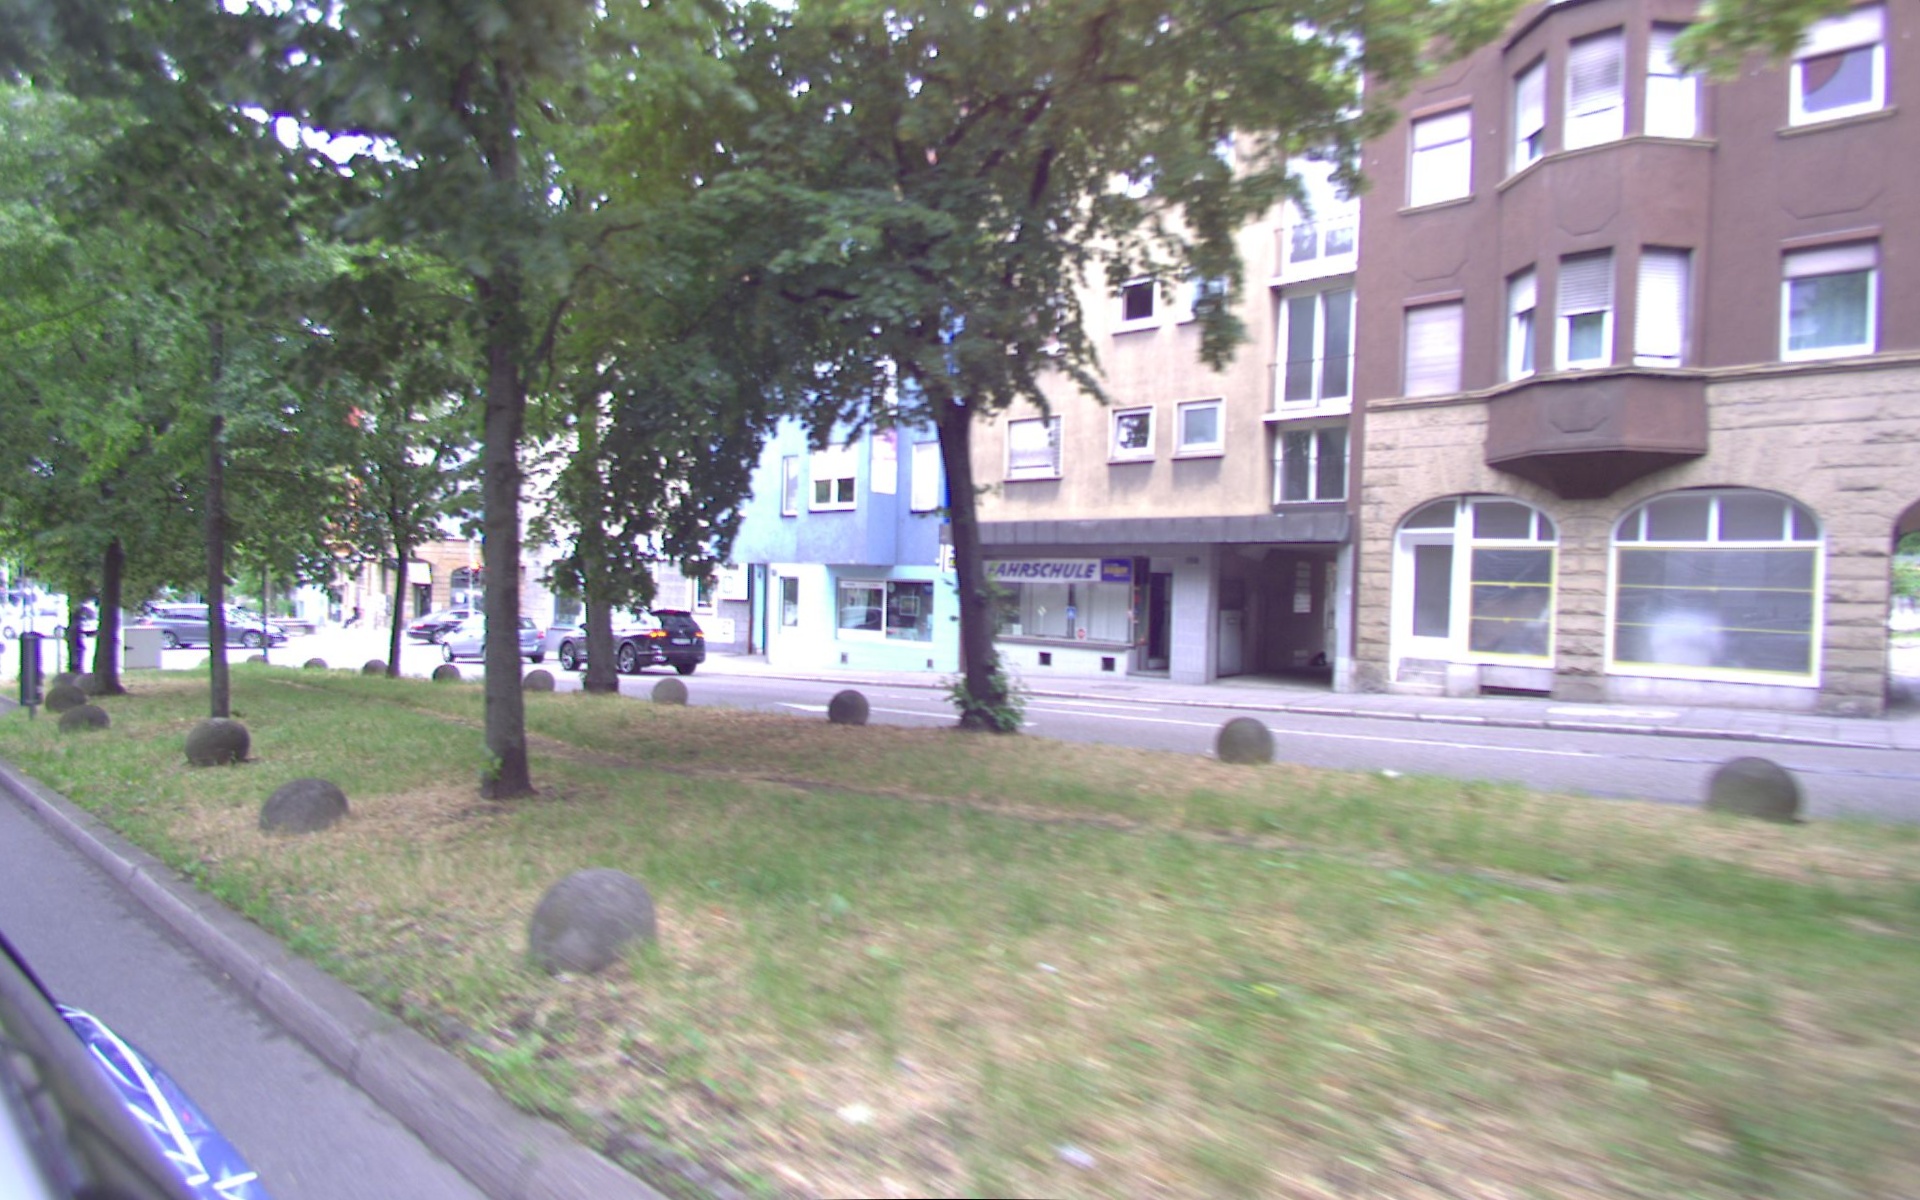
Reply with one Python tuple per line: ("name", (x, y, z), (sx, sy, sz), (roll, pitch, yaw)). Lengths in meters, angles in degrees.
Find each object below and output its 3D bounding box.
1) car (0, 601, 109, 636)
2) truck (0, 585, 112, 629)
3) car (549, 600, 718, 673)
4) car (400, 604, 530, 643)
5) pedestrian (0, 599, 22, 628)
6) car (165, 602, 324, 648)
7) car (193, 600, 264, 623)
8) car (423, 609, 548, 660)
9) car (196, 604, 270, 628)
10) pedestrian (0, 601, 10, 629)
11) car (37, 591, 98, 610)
("car", (-40.194, 0.803, 44.589), (3.907, 1.441, 1.796), (0, 2, 0))
("truck", (-60.159, 0.477, 66.709), (2.739, 2.744, 6.443), (-1, -1, 6))
("car", (-8.256, 0.860, 25.388), (4.675, 1.649, 1.797), (0, -1, 40))
("car", (-20.939, 0.942, 42.893), (4.662, 1.430, 1.846), (-1, 2, -37))
("pedestrian", (-47.487, 0.661, 50.608), (0.594, 1.443, 0.604), (1, 2, 7))
("car", (-27.461, 0.915, 39.024), (4.647, 1.626, 1.865), (0, 1, -20))
("car", (-54.430, 0.861, 75.335), (3.874, 1.610, 1.895), (0, 2, -4))
("car", (-14.272, 1.009, 30.353), (4.289, 1.417, 1.653), (-1, -1, 38))
("car", (-51.809, 1.146, 72.161), (3.874, 1.610, 1.895), (0, 2, -4))
("pedestrian", (-48.216, 0.758, 50.703), (0.621, 1.351, 0.662), (1, 2, 7))
("car", (-84.080, 0.023, 95.415), (1.877, 1.717, 3.911), (1, 2, 17))
